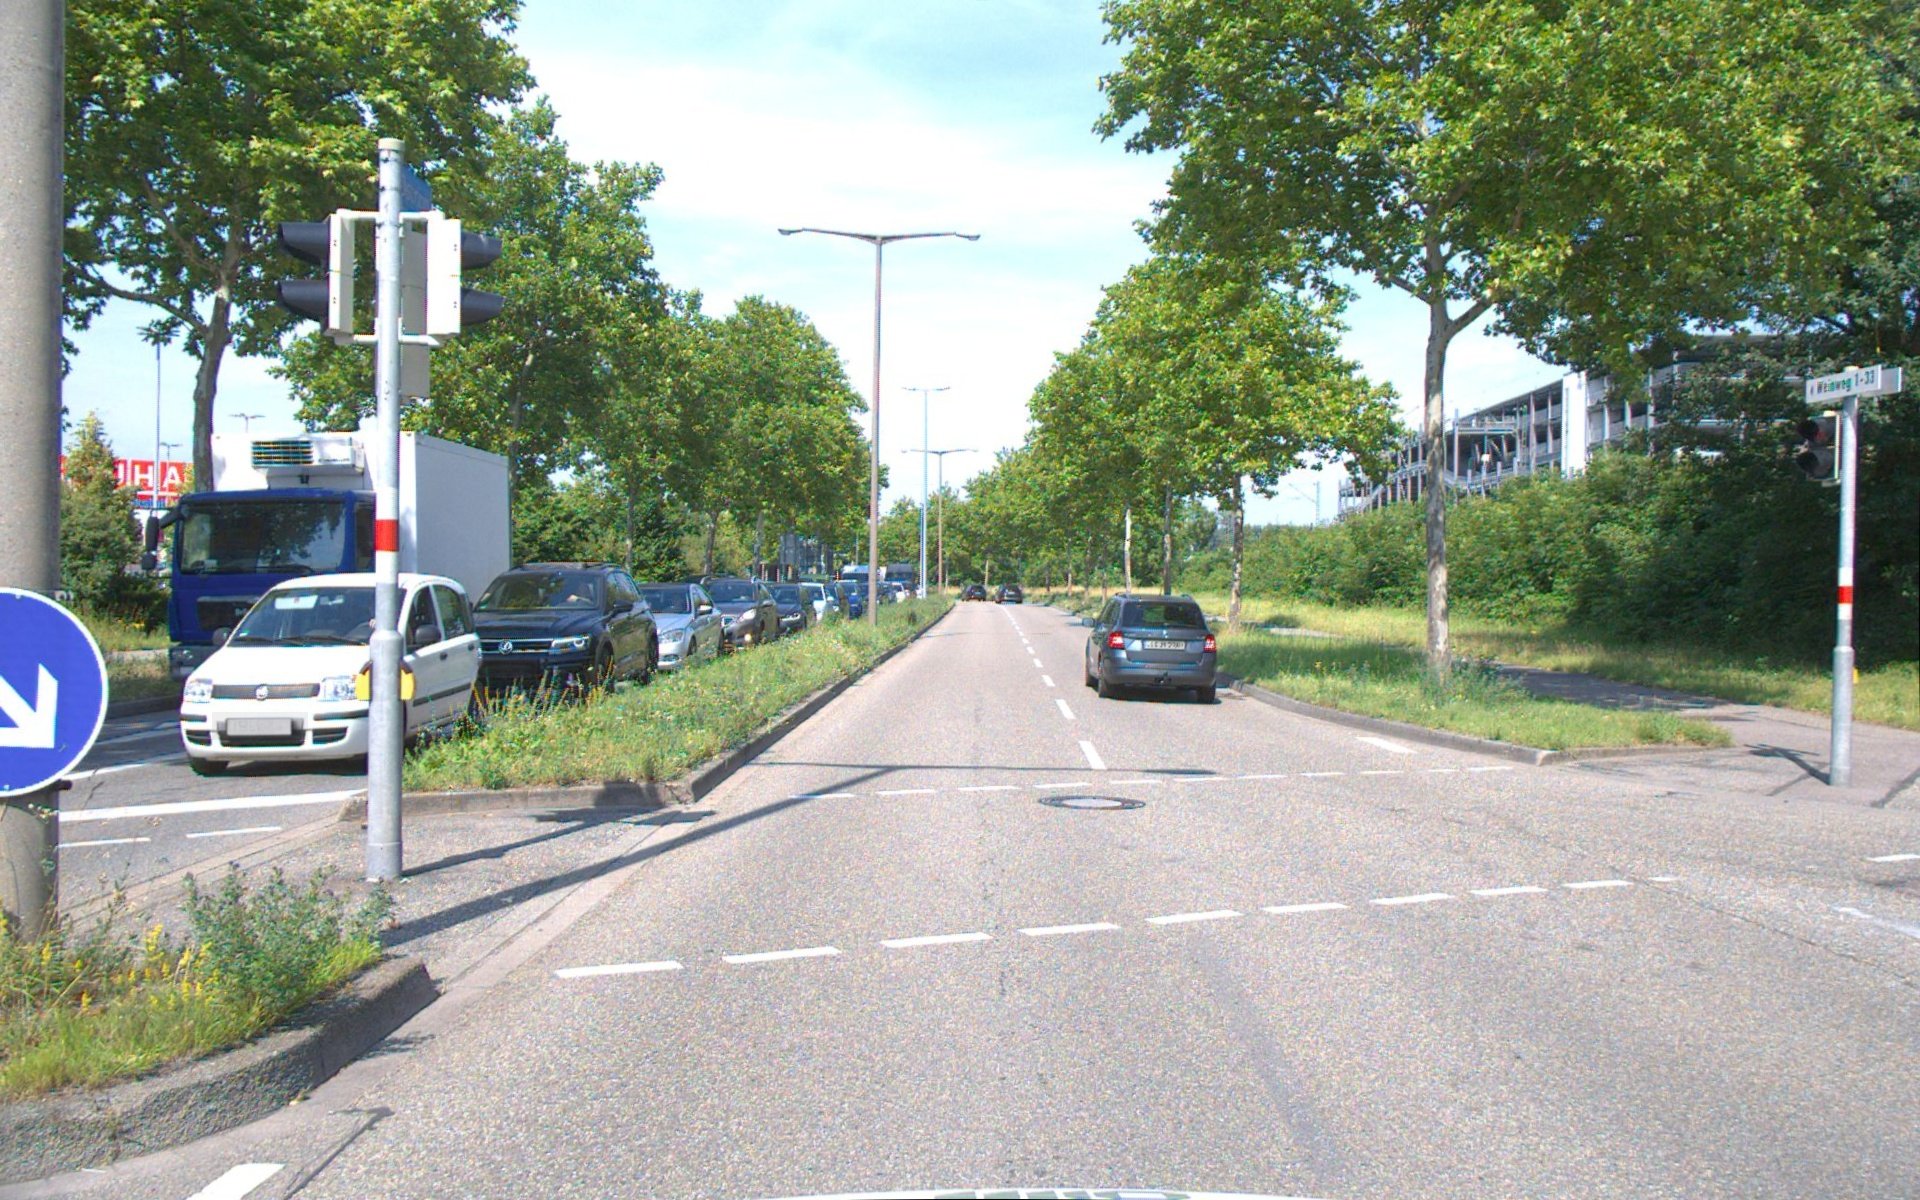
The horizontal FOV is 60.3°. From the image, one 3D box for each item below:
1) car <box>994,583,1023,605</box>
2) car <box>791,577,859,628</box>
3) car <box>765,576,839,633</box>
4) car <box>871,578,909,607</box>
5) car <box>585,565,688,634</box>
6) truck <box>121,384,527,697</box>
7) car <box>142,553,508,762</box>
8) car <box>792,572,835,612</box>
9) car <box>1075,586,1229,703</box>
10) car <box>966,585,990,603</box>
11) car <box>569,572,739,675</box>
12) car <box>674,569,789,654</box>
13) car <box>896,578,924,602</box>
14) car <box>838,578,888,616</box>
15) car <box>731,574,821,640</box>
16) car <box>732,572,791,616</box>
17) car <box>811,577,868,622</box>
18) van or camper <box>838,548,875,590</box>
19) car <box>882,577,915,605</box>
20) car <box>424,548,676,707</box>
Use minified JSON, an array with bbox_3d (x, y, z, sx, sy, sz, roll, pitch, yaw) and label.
[{"bbox_3d":[3.545,-0.450,122.127,1.869,1.488,4.620,1,2,-2],"label":"car"},{"bbox_3d":[-4.323,0.032,53.414,1.721,1.556,4.828,0,1,1],"label":"car"},{"bbox_3d":[-4.354,0.094,46.076,1.654,1.497,3.815,0,1,1],"label":"car"},{"bbox_3d":[-3.638,-0.400,86.311,1.747,1.484,4.473,0,1,1],"label":"car"},{"bbox_3d":[-7.713,-0.042,39.754,1.654,1.556,4.084,-1,1,0],"label":"car"},{"bbox_3d":[-8.144,-0.743,22.248,2.746,3.532,6.692,-1,1,1],"label":"truck"},{"bbox_3d":[-5.083,0.384,13.777,1.560,1.503,3.730,0,1,1],"label":"car"},{"bbox_3d":[-7.063,-0.402,79.973,1.654,1.891,4.037,0,0,1],"label":"car"},{"bbox_3d":[2.719,0.581,24.205,1.640,1.478,4.035,2,1,-2],"label":"car"},{"bbox_3d":[1.600,-0.528,150.100,1.870,1.488,4.581,1,1,-2],"label":"car"},{"bbox_3d":[-4.737,0.304,26.213,1.759,1.493,4.524,0,1,1],"label":"car"},{"bbox_3d":[-4.518,0.185,33.253,1.654,1.614,4.241,0,1,1],"label":"car"},{"bbox_3d":[-3.301,-0.620,109.411,1.654,1.557,3.815,0,0,1],"label":"car"},{"bbox_3d":[-3.921,-0.155,67.640,1.786,1.491,4.450,0,1,0],"label":"car"},{"bbox_3d":[-4.459,0.124,40.543,1.654,1.499,4.219,-1,1,1],"label":"car"},{"bbox_3d":[-7.326,-0.244,61.357,1.654,1.556,3.940,0,1,1],"label":"car"},{"bbox_3d":[-4.236,-0.040,58.773,1.748,1.515,4.211,0,1,0],"label":"car"},{"bbox_3d":[-6.704,-2.003,107.462,1.973,2.633,5.518,0,1,1],"label":"van or camper"},{"bbox_3d":[-3.428,-0.500,92.745,1.654,1.537,3.815,0,1,1],"label":"car"},{"bbox_3d":[-4.739,0.297,19.828,1.782,1.675,4.694,0,0,1],"label":"car"}]
